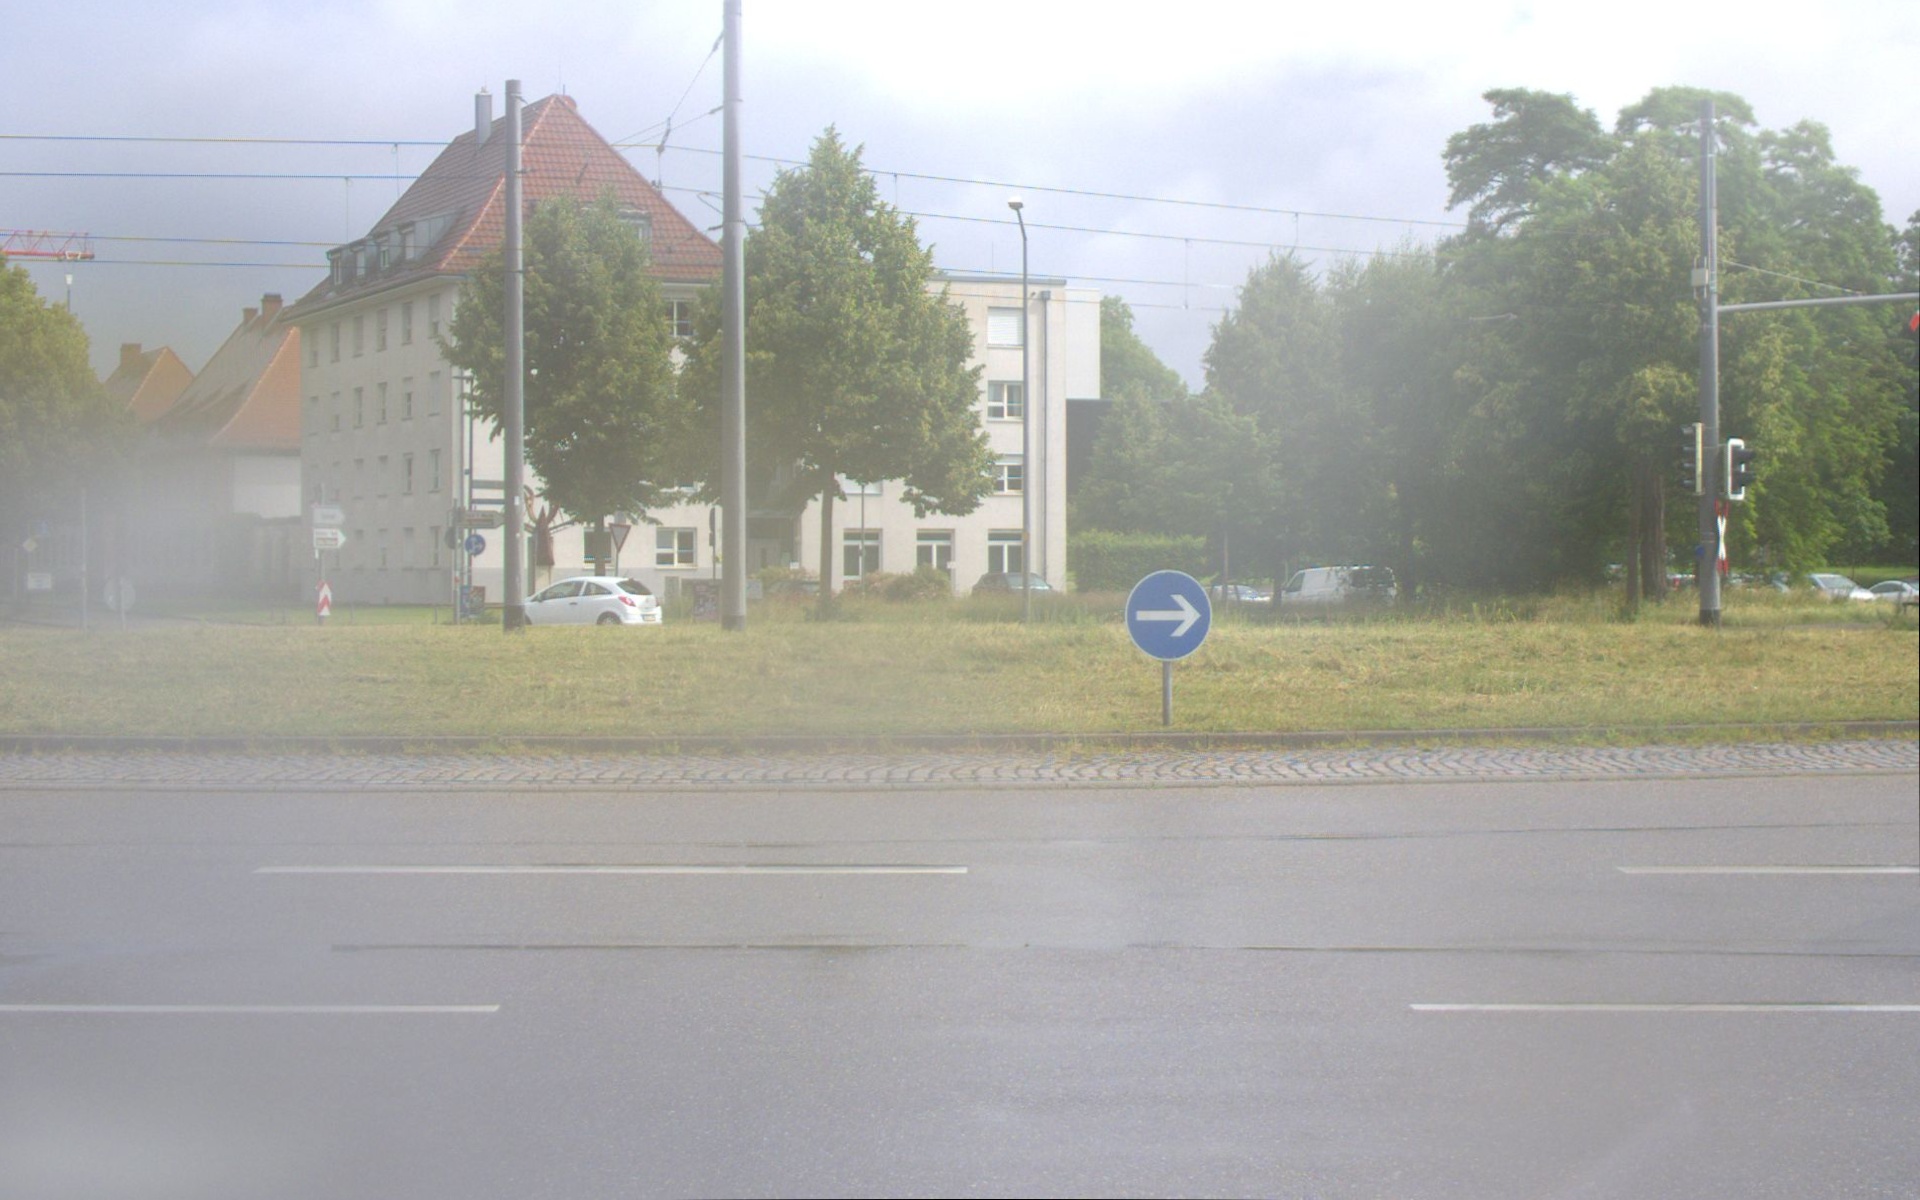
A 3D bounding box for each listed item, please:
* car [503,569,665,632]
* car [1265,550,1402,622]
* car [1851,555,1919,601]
[{"bbox_3d":[-8.899,0.006,81.398,3.493,1.449,1.548,0,1,25],"label":"car"},{"bbox_3d":[11.403,-0.459,105.325,2.106,2.050,5.163,-1,2,-20],"label":"car"},{"bbox_3d":[31.025,-0.728,112.831,1.639,1.457,3.612,0,0,-21],"label":"car"}]
